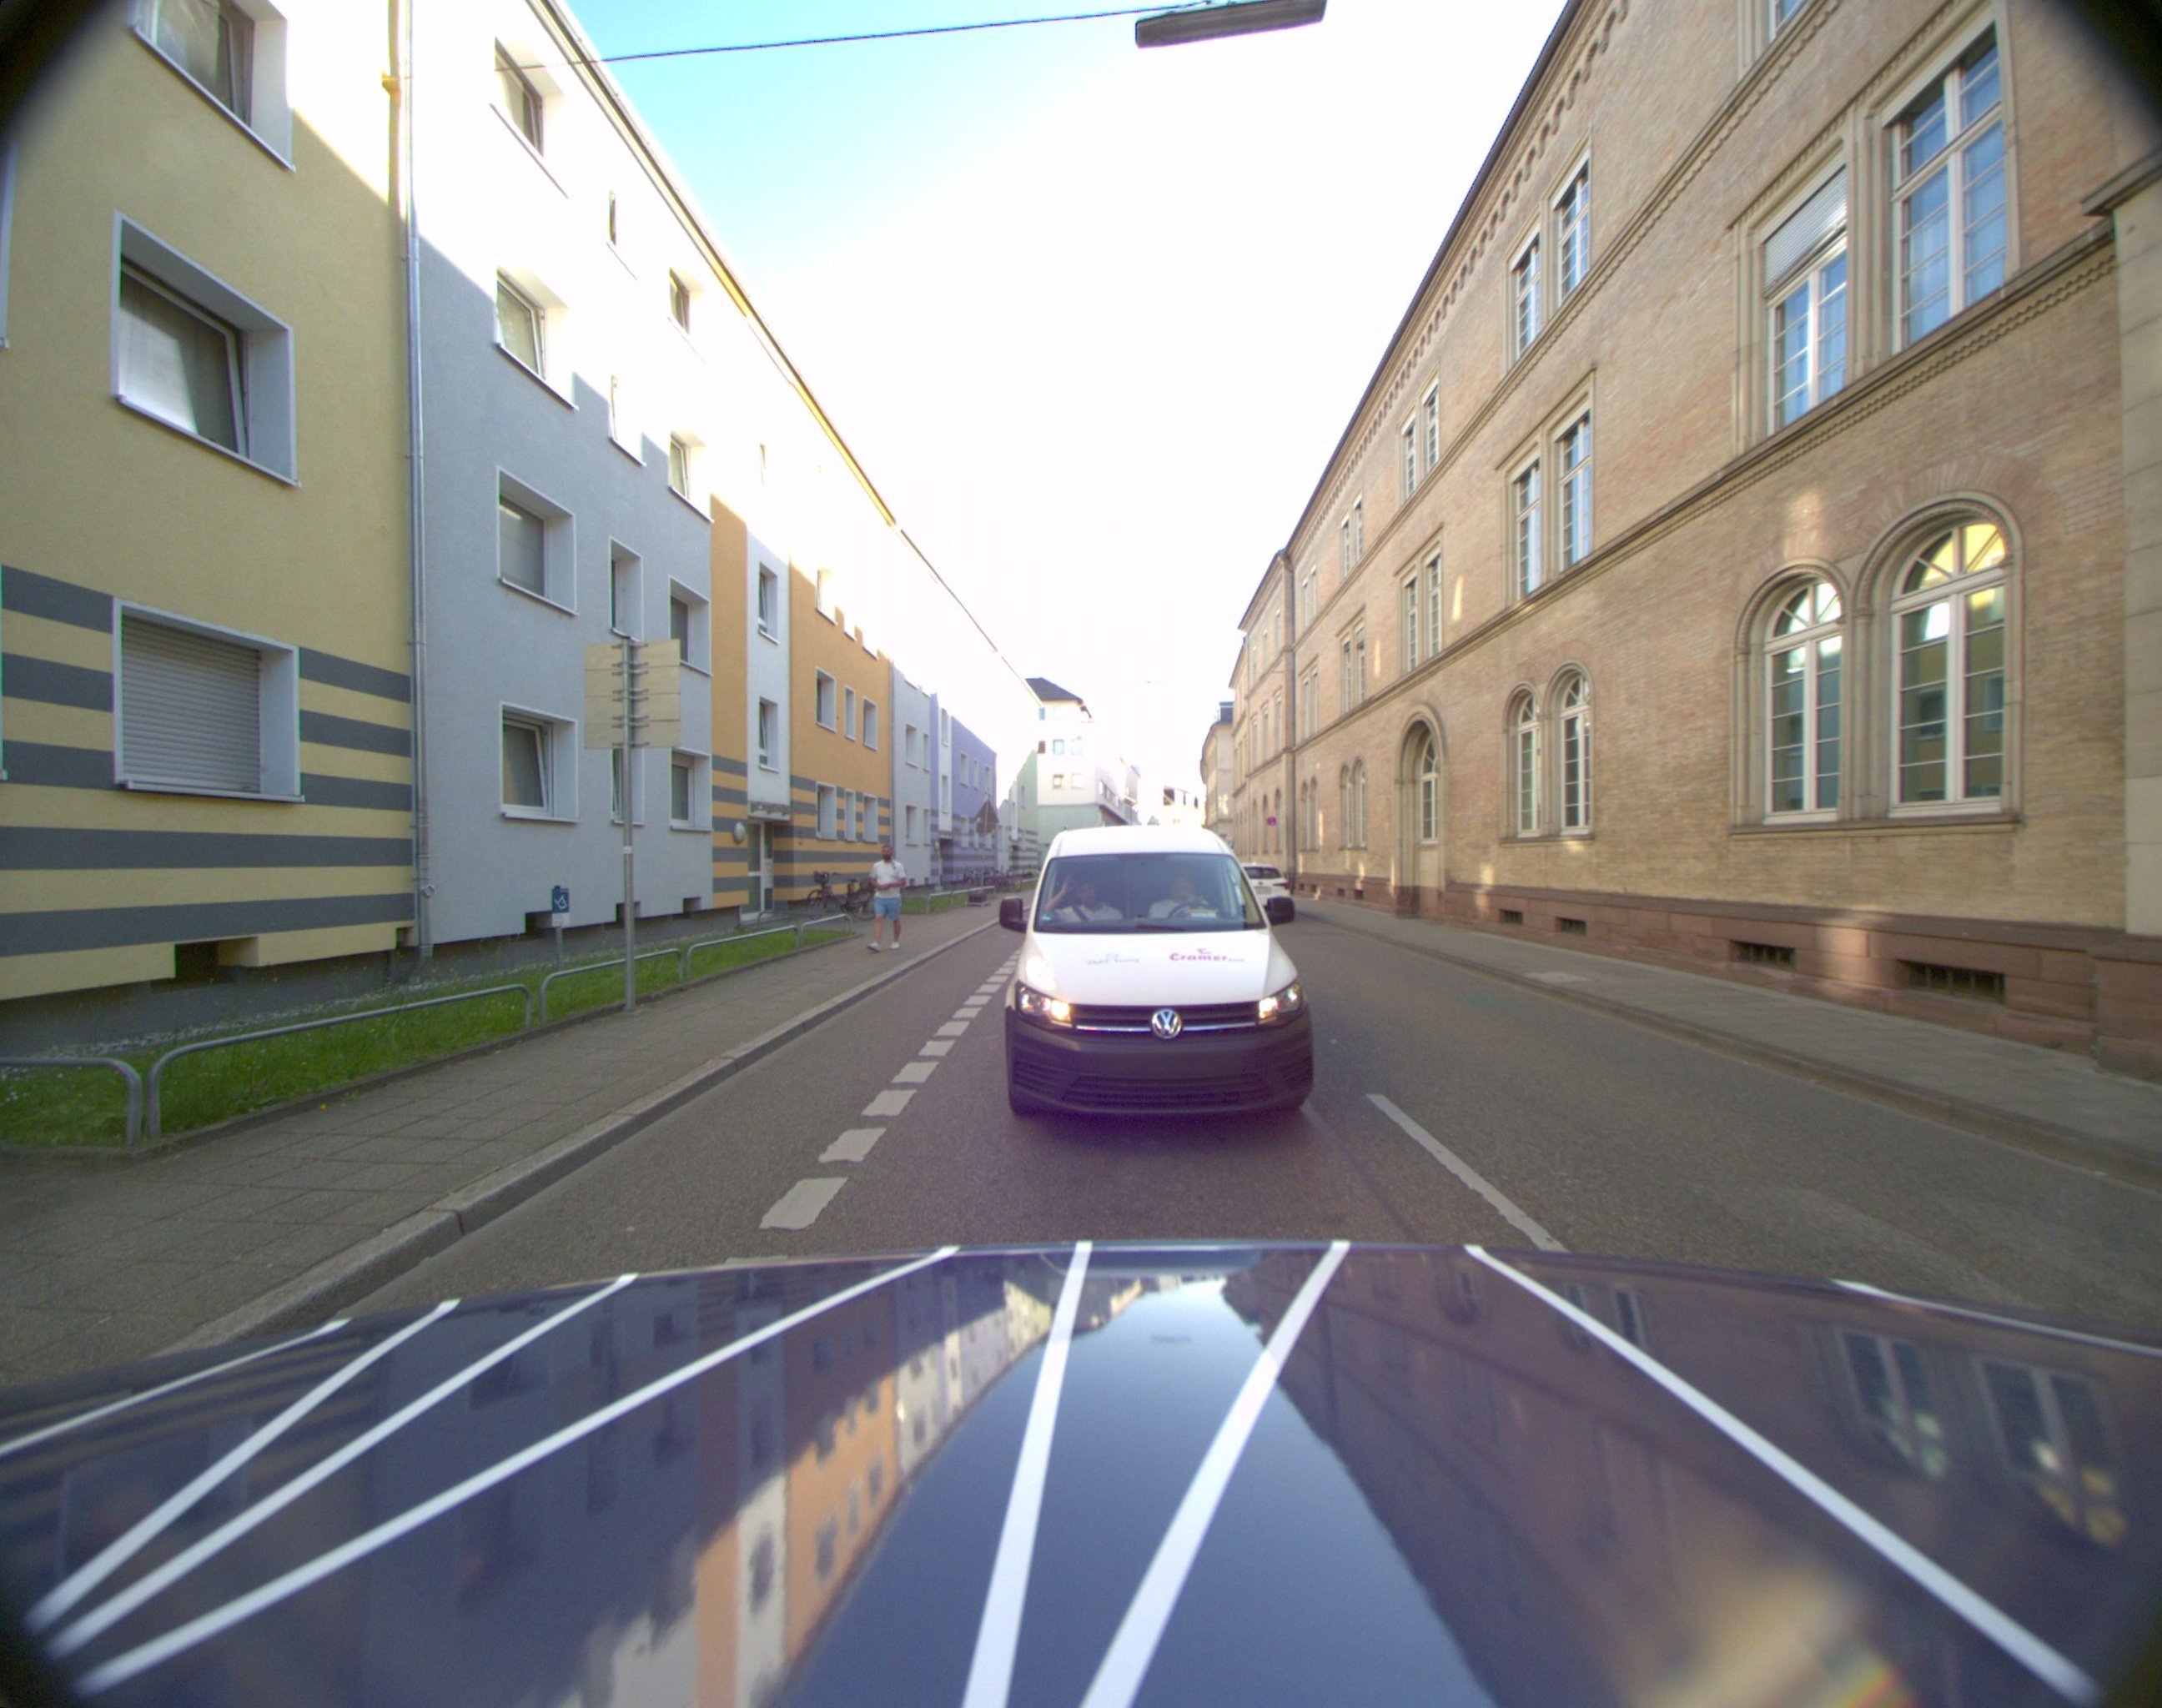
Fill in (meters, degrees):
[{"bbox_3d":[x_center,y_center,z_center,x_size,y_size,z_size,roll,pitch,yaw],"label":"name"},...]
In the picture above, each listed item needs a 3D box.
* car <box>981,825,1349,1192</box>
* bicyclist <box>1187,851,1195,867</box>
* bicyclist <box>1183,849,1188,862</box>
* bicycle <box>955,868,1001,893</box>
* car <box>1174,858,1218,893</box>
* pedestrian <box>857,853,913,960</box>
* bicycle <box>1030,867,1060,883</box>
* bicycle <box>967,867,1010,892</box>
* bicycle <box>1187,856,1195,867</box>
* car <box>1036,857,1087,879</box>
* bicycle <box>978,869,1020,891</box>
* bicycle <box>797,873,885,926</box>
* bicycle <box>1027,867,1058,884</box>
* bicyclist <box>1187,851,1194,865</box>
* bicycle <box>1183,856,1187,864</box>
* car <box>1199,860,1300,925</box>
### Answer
[{"bbox_3d":[0.455,0.779,6.462,1.819,1.825,5.341,0,0,1],"label":"car"},{"bbox_3d":[10.437,0.485,72.188,0.651,1.558,0.961,2,0,4],"label":"bicyclist"},{"bbox_3d":[12.957,0.203,94.437,0.546,1.524,0.870,2,0,7],"label":"bicyclist"},{"bbox_3d":[-4.323,1.120,31.885,1.775,0.990,0.584,1,1,7],"label":"bicycle"},{"bbox_3d":[5.557,0.993,37.128,1.689,1.573,4.276,2,0,4],"label":"car"},{"bbox_3d":[-3.118,0.812,12.160,0.644,1.662,0.834,1,0,3],"label":"pedestrian"},{"bbox_3d":[-2.231,1.324,47.635,1.775,0.934,0.584,1,1,7],"label":"bicycle"},{"bbox_3d":[-4.046,1.111,33.227,1.775,0.990,0.584,1,1,7],"label":"bicycle"},{"bbox_3d":[10.440,0.685,72.197,0.651,1.001,1.807,2,0,4],"label":"bicycle"},{"bbox_3d":[-1.589,1.155,63.502,3.995,1.681,1.901,-2,1,5],"label":"car"},{"bbox_3d":[-3.656,1.149,33.843,1.775,0.934,0.584,1,1,7],"label":"bicycle"},{"bbox_3d":[-5.392,1.020,17.128,1.776,1.118,0.583,1,1,-1],"label":"bicycle"},{"bbox_3d":[-2.311,1.293,46.098,1.775,0.934,0.584,1,1,7],"label":"bicycle"},{"bbox_3d":[11.725,0.420,81.140,0.651,1.500,1.112,2,0,8],"label":"bicyclist"},{"bbox_3d":[12.936,0.713,94.516,0.546,1.001,1.758,2,0,8],"label":"bicycle"},{"bbox_3d":[4.448,0.957,20.722,1.891,1.467,4.545,2,0,3],"label":"car"}]
